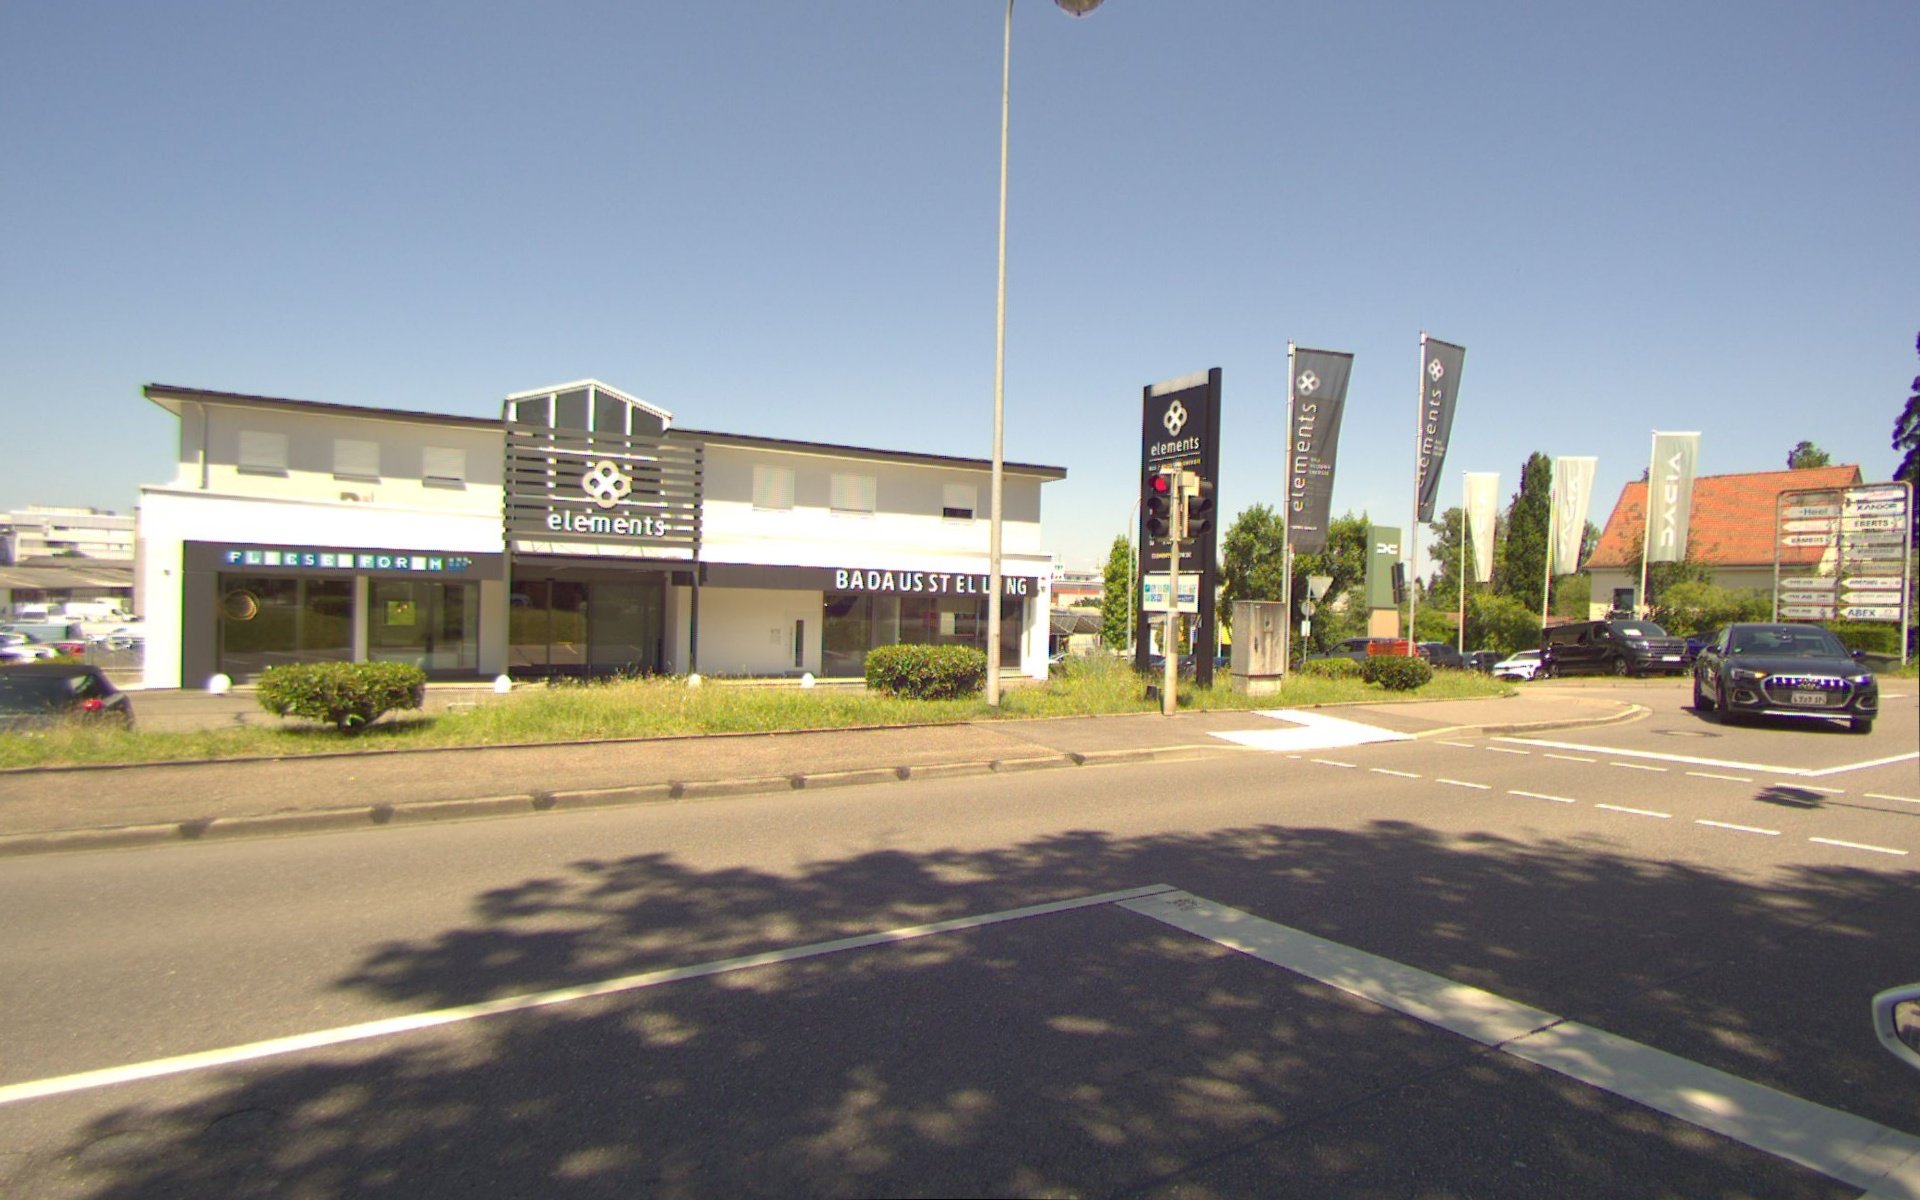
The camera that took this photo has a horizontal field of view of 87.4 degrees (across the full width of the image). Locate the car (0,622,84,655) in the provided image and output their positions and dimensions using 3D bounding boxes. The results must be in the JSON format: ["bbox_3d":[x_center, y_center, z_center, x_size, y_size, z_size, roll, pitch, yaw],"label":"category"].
[{"bbox_3d":[-55.010,2.296,59.798,3.953,1.839,1.984,2,-1,-30],"label":"car"}]

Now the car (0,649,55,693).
[{"bbox_3d":[-41.086,2.984,42.526,3.773,1.750,1.738,2,0,-30],"label":"car"}]

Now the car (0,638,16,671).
[{"bbox_3d":[-52.524,2.855,52.748,3.953,1.627,1.823,2,0,-30],"label":"car"}]

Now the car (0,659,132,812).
[{"bbox_3d":[-11.449,1.510,11.887,1.756,1.442,3.327,1,0,-26],"label":"car"}]

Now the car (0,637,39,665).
[{"bbox_3d":[-54.834,2.882,56.619,3.953,1.494,1.742,2,0,-30],"label":"car"}]

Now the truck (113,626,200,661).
[{"bbox_3d":[-49.792,2.703,62.336,3.938,2.003,1.672,2,0,-31],"label":"truck"}]

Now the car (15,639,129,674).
[{"bbox_3d":[-44.803,2.850,50.800,3.953,1.657,1.835,2,-1,-30],"label":"car"}]

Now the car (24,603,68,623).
[{"bbox_3d":[-90.023,1.252,98.989,1.972,1.853,3.977,2,0,-23],"label":"car"}]

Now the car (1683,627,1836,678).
[{"bbox_3d":[24.771,1.586,31.209,1.586,1.446,3.466,2,-1,-36],"label":"car"}]

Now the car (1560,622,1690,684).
[{"bbox_3d":[21.088,1.645,31.915,1.561,1.736,3.119,2,0,-39],"label":"car"}]

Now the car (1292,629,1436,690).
[{"bbox_3d":[13.451,1.940,33.674,1.862,1.740,4.279,2,0,-28],"label":"car"}]

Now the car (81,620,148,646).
[{"bbox_3d":[-55.722,2.167,66.265,3.090,1.553,1.672,2,0,-30],"label":"car"}]

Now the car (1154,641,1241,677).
[{"bbox_3d":[11.208,2.771,47.650,1.736,1.432,3.967,2,0,-30],"label":"car"}]

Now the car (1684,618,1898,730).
[{"bbox_3d":[13.243,1.130,16.304,1.894,1.546,4.301,0,-2,29],"label":"car"}]

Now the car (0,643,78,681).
[{"bbox_3d":[-42.446,2.796,45.499,3.427,1.613,1.712,2,0,-30],"label":"car"}]

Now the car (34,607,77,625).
[{"bbox_3d":[-85.145,1.482,94.605,1.975,1.617,3.972,1,-1,-27],"label":"car"}]

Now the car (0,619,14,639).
[{"bbox_3d":[-73.423,2.165,75.480,3.090,1.403,1.672,2,0,-30],"label":"car"}]

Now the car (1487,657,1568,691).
[{"bbox_3d":[23.641,3.045,41.826,3.211,1.242,1.735,2,0,-35],"label":"car"}]
